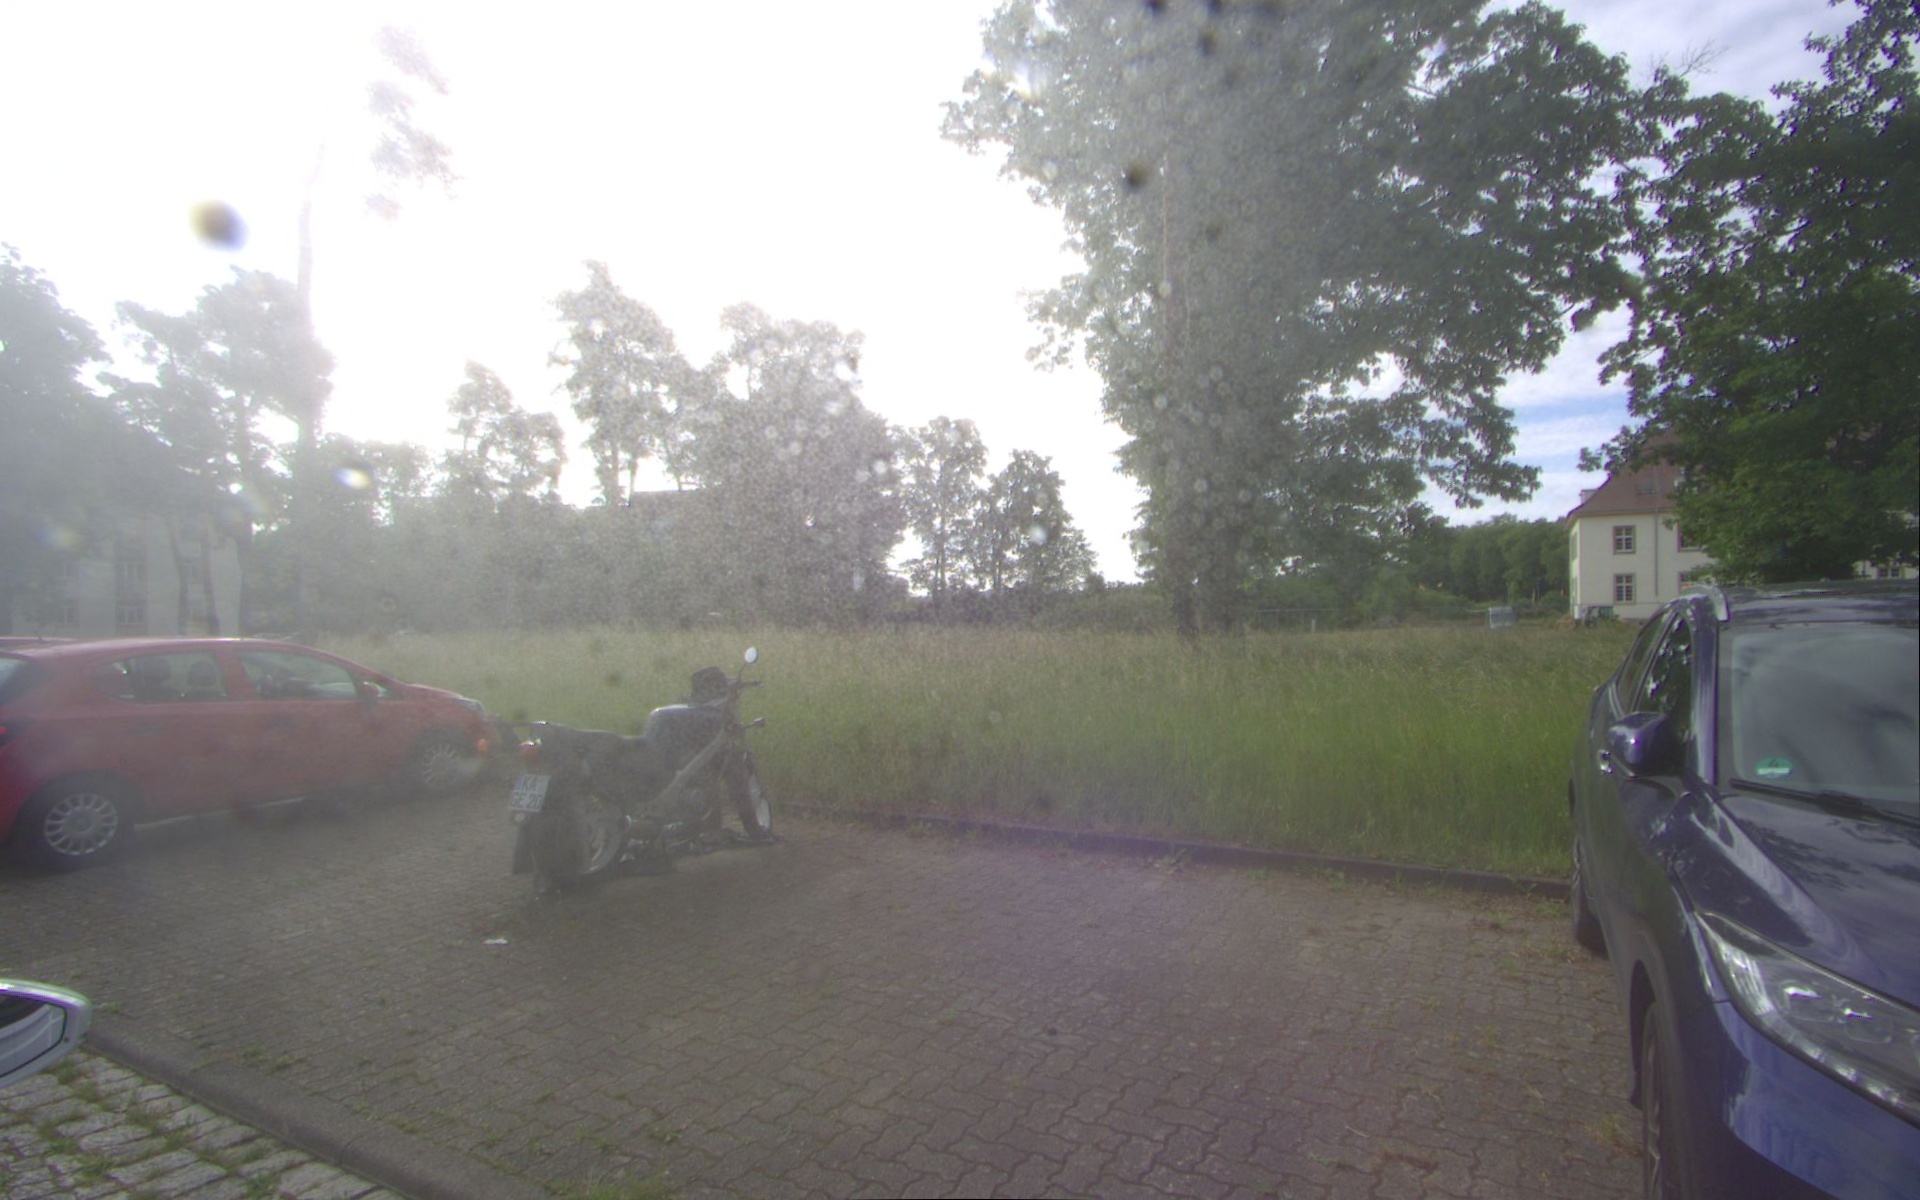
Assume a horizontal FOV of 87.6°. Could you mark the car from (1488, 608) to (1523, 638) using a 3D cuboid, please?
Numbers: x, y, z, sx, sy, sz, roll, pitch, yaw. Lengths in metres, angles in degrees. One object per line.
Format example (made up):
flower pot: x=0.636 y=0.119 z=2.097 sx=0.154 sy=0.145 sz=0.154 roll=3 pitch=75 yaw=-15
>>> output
car: x=44.165 y=1.883 z=81.195 sx=1.885 sy=2.378 sz=4.588 roll=-1 pitch=-2 yaw=21

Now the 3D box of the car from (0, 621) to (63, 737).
car: x=-14.600 y=1.130 z=13.008 sx=1.724 sy=1.573 sz=4.025 roll=-1 pitch=0 yaw=27

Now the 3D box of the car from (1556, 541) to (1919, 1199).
car: x=2.839 y=0.722 z=2.885 sx=1.766 sy=1.591 sz=4.158 roll=-2 pitch=-2 yaw=29

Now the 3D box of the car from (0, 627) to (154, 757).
car: x=-12.238 y=1.137 z=11.879 sx=1.725 sy=1.479 sz=3.787 roll=-1 pitch=0 yaw=29

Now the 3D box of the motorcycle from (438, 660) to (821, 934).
motorcycle: x=-1.836 y=1.028 z=6.065 sx=0.783 sy=1.201 sz=2.326 roll=-1 pitch=0 yaw=27

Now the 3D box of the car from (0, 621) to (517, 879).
car: x=-5.815 y=0.971 z=8.053 sx=1.752 sy=1.479 sz=3.821 roll=-1 pitch=0 yaw=29

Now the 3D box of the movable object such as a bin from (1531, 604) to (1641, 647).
movable object such as a bin: x=41.748 y=1.738 z=66.877 sx=2.155 sy=2.689 sz=5.918 roll=1 pitch=-2 yaw=-45
